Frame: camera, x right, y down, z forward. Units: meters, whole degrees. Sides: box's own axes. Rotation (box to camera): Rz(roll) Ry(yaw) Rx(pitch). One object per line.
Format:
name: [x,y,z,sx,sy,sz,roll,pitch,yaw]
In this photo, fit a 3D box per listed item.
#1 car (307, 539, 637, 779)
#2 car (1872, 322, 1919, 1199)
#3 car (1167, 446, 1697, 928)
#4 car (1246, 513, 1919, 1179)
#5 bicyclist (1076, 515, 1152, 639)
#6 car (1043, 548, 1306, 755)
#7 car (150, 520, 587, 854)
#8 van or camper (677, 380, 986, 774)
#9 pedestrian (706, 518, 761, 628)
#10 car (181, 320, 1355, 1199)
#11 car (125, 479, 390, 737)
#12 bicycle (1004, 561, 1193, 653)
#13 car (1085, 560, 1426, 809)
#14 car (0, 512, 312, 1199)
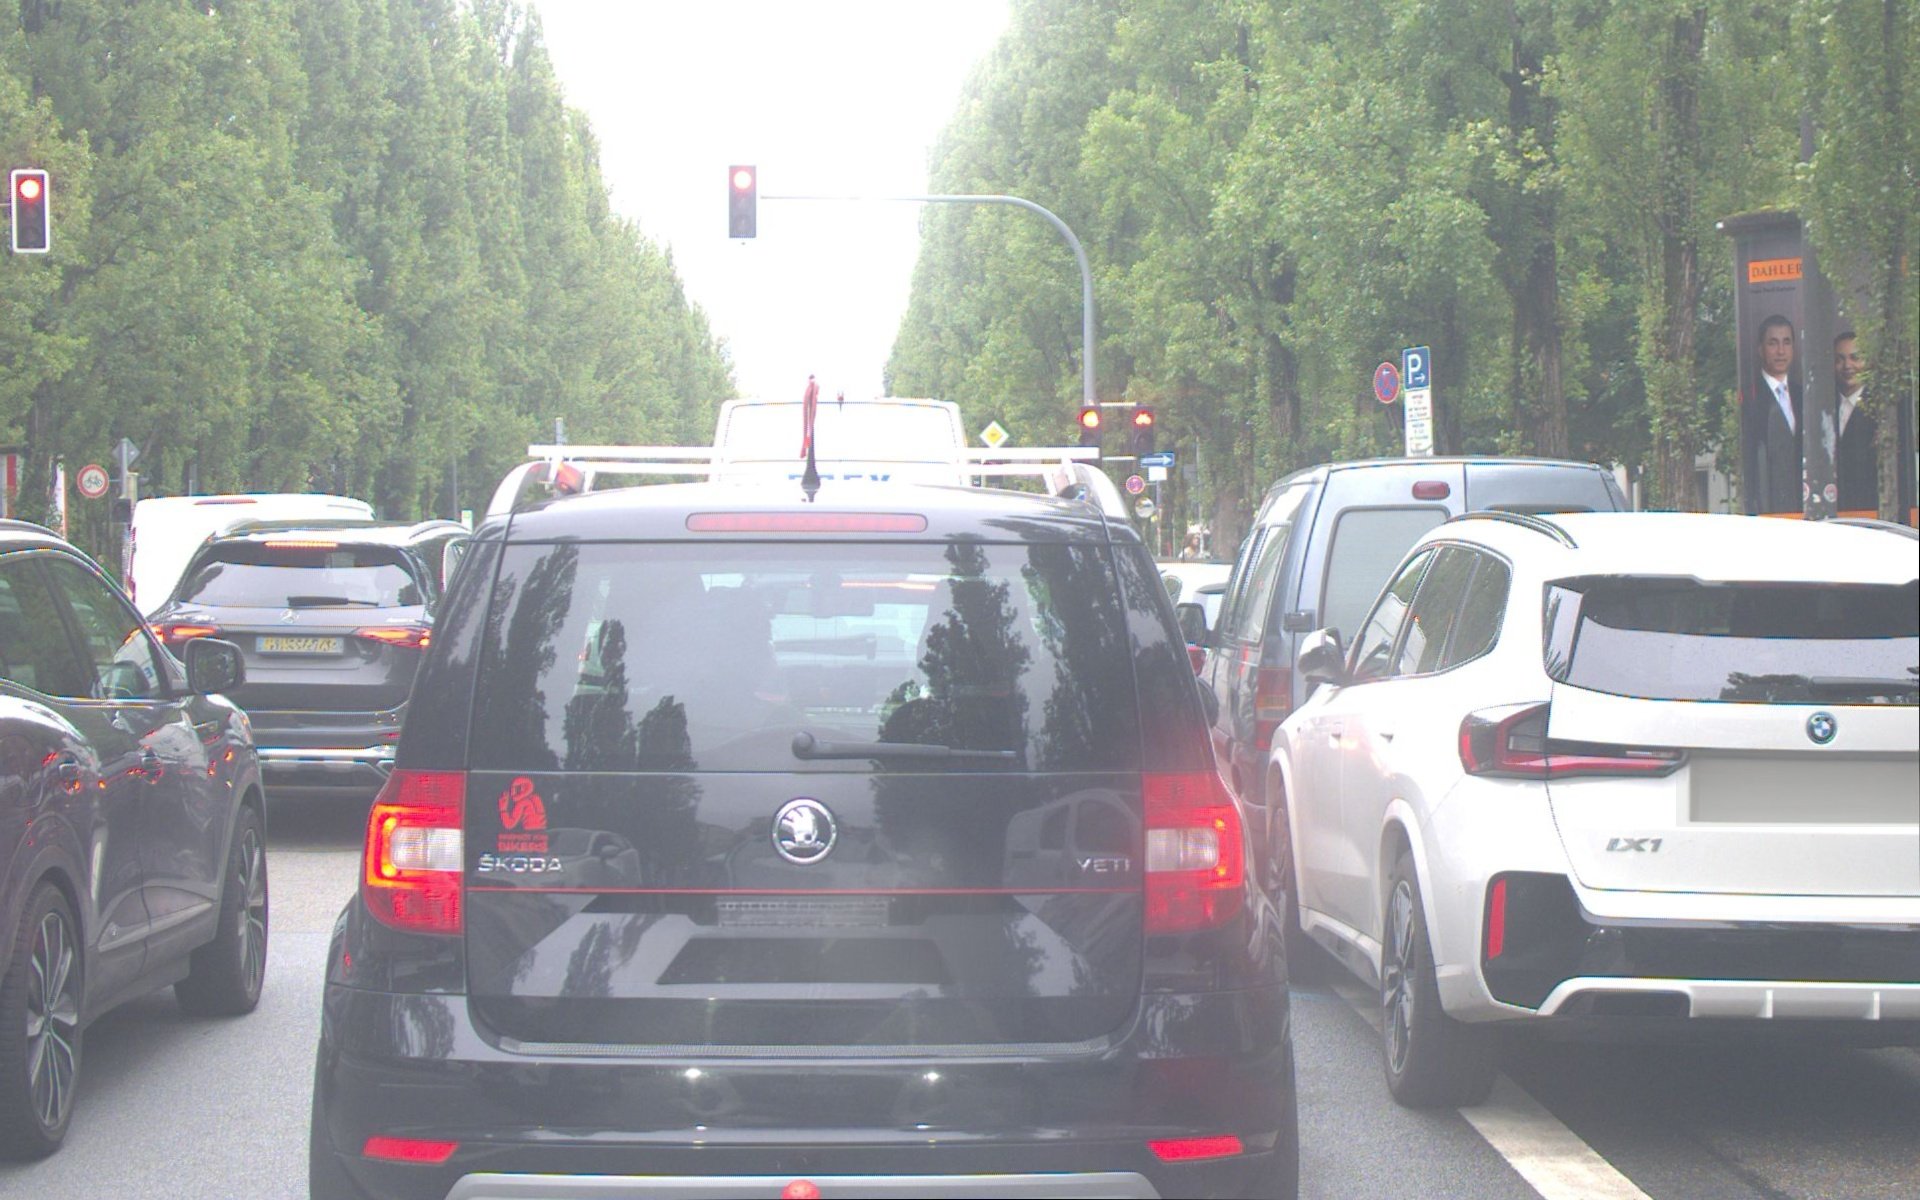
car: [-3.492,0.365,25.294,1.993,1.555,4.001,-1,2,-2]
car: [2.436,0.554,3.308,1.851,1.875,4.169,-1,1,-2]
car: [1.997,0.299,15.651,1.735,1.889,4.025,-1,1,-2]
car: [1.970,0.542,10.378,1.741,1.587,4.212,-1,1,-1]
bicyclist: [2.152,-0.326,48.149,0.905,1.716,0.825,-1,1,-7]
car: [1.622,0.352,27.027,1.735,1.470,3.563,-1,1,-2]
car: [-3.108,0.378,18.811,1.781,1.614,4.025,-1,1,-2]
van or camper: [-0.943,-0.194,24.374,1.975,2.540,4.025,-1,1,-3]
pedestrian: [-4.218,-0.510,64.103,0.885,2.007,1.013,-1,1,2]
car: [-0.356,0.420,7.524,1.855,1.764,4.000,1,1,-1]
car: [-6.189,0.039,30.674,1.781,2.104,4.025,-1,1,-4]
bicycle: [1.933,0.087,48.148,2.534,1.233,0.813,-1,1,-7]
car: [1.781,0.467,21.727,1.735,1.382,3.563,-1,1,-2]
car: [-3.079,0.550,9.446,1.835,1.580,4.186,1,1,-1]
